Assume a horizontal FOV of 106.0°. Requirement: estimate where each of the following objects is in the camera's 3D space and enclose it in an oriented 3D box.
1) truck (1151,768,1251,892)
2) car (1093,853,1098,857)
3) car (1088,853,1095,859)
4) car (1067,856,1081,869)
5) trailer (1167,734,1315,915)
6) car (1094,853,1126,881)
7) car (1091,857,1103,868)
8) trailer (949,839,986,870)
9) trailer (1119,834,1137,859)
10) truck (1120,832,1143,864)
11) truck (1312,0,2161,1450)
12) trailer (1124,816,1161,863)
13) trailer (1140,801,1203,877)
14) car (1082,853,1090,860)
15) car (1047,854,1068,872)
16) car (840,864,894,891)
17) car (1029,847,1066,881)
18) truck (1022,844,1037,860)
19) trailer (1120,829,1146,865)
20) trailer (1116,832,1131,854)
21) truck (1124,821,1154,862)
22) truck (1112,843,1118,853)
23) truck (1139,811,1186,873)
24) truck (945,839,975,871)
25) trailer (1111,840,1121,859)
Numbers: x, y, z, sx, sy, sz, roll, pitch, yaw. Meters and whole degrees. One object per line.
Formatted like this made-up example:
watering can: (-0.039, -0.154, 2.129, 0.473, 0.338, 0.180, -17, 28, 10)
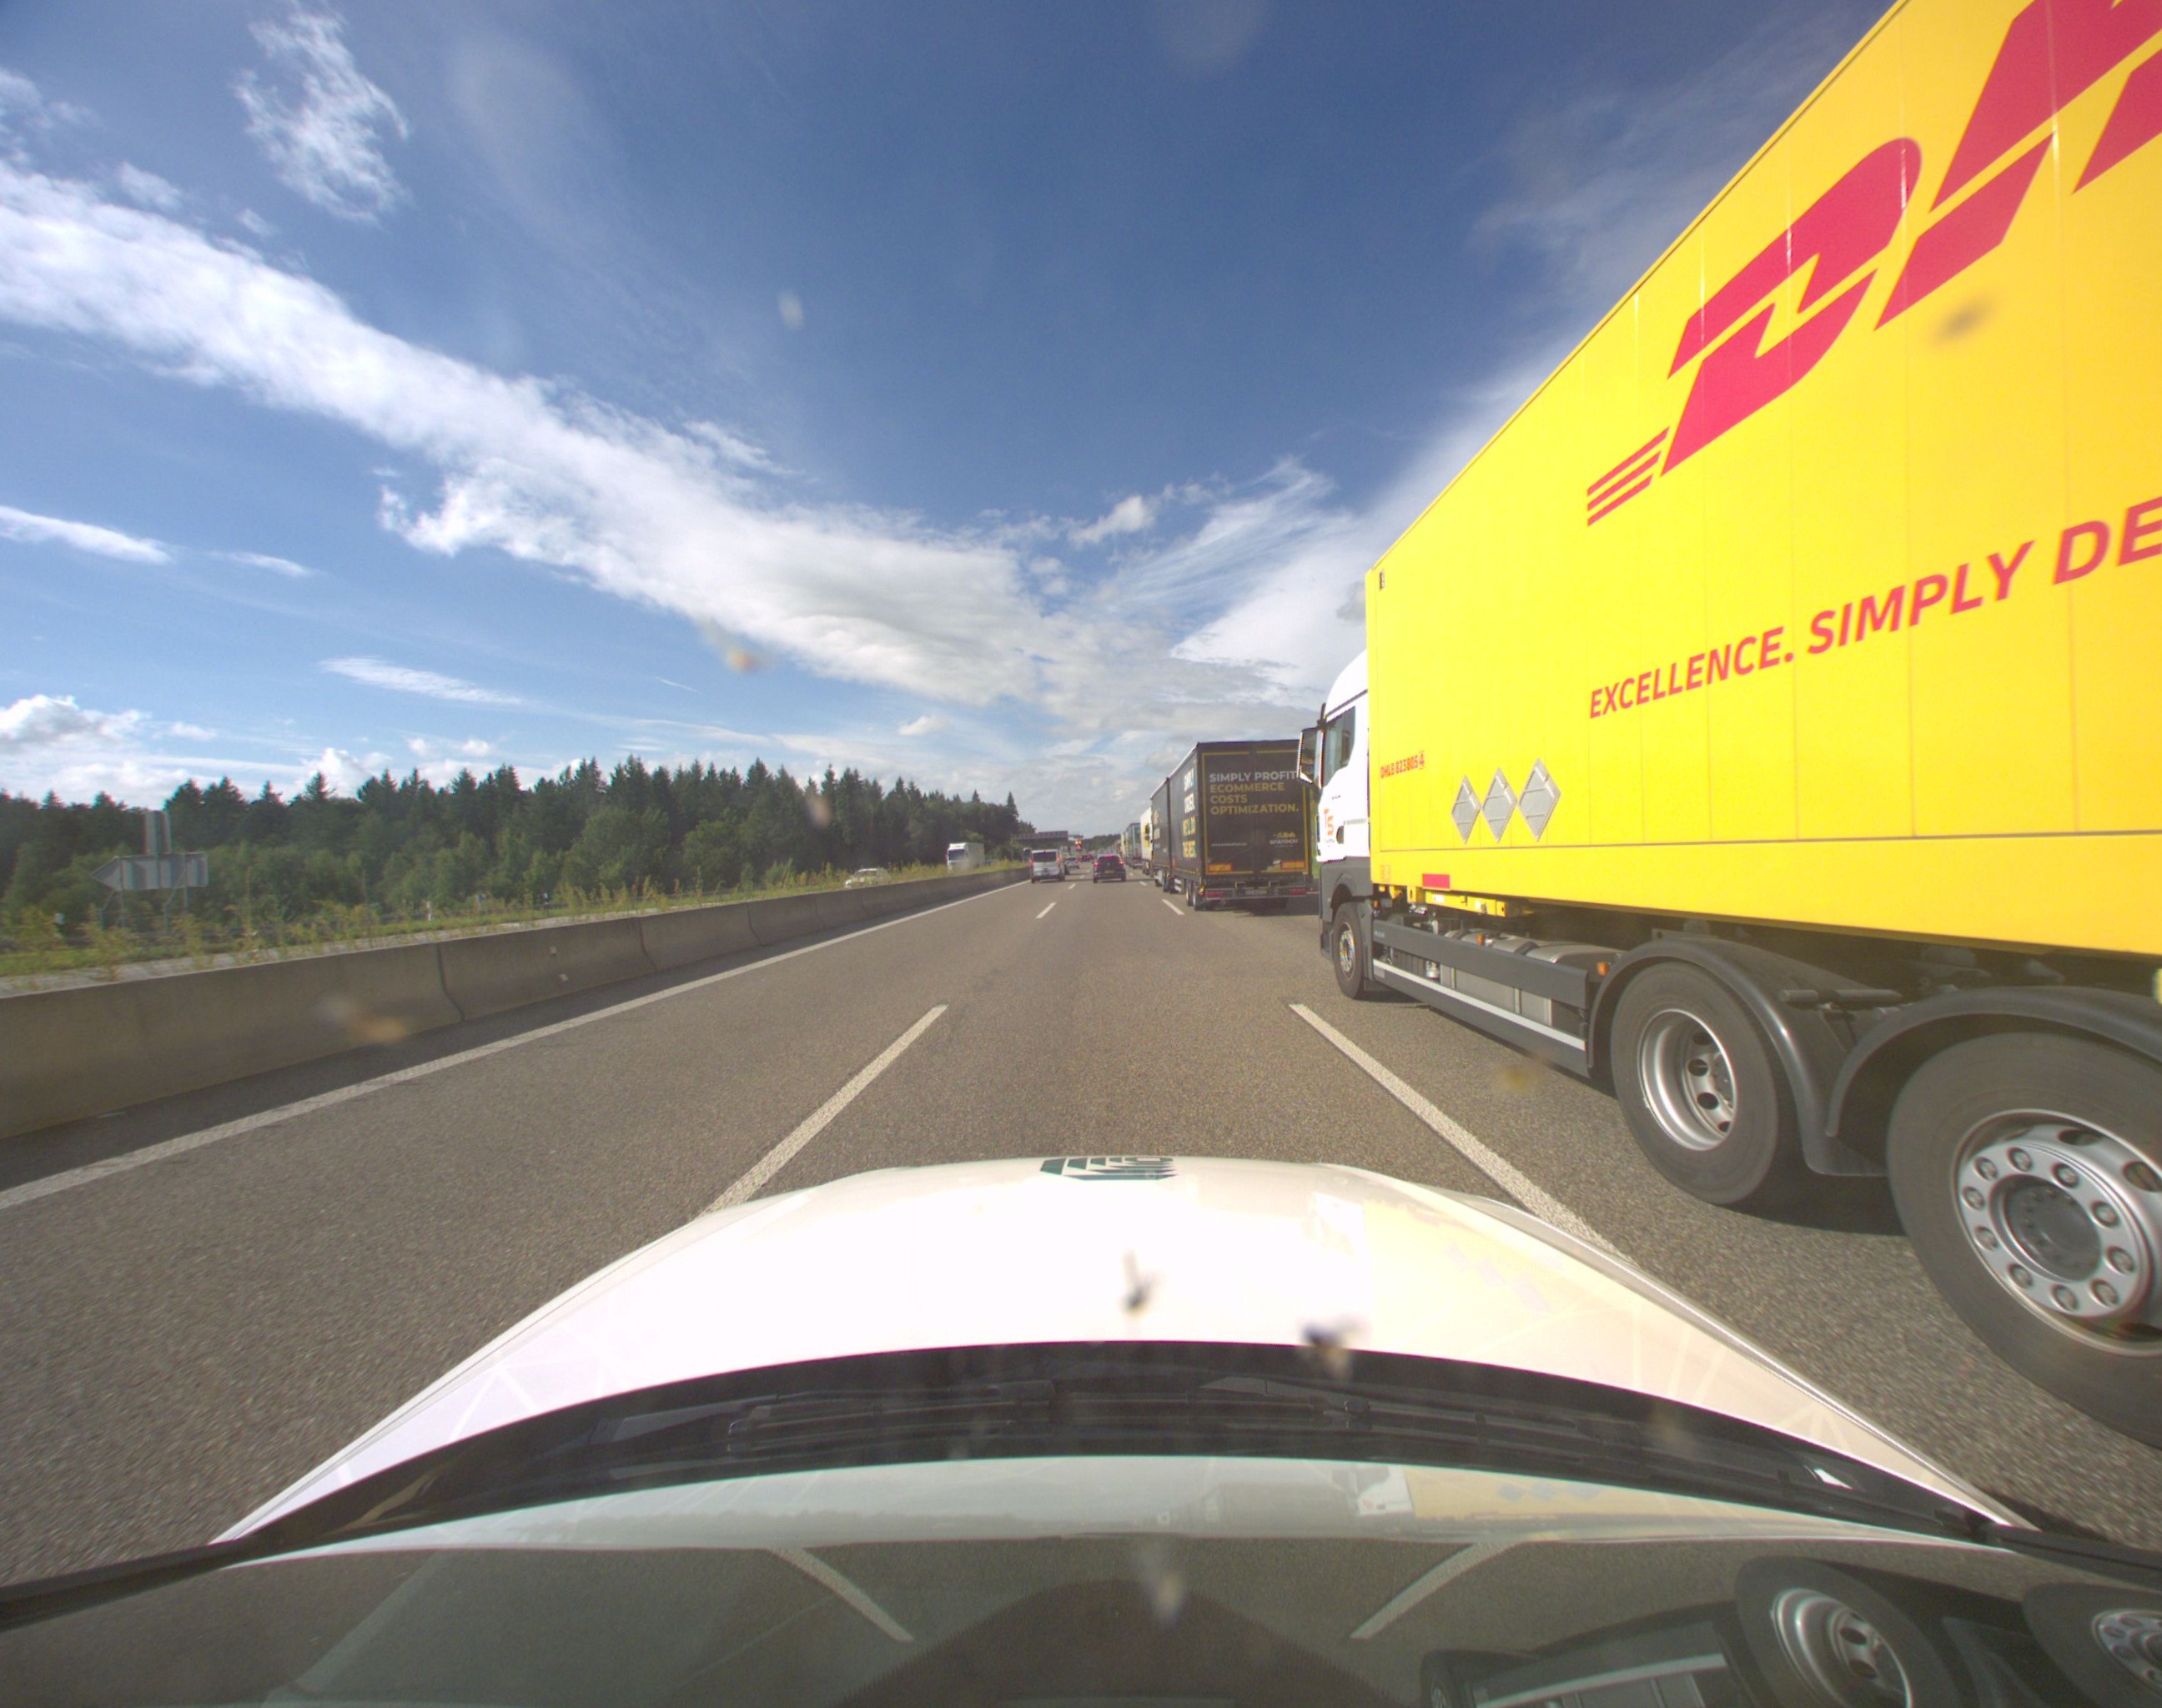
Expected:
truck: (4.381, -0.757, 31.820, 2.730, 4.038, 10.208, -1, 0, 2)
car: (4.410, 0.310, 246.868, 1.356, 1.301, 3.086, -1, 0, 2)
car: (2.437, 0.524, 183.822, 1.429, 1.310, 3.534, -1, 0, 1)
car: (-0.808, 0.952, 94.259, 1.494, 1.396, 3.477, -1, 0, 2)
trailer: (3.983, -0.683, 22.331, 2.705, 3.960, 8.717, -1, 0, 3)
car: (1.598, 0.702, 45.126, 1.690, 1.483, 4.161, -1, 0, 2)
car: (2.145, 1.113, 109.057, 1.576, 1.396, 3.207, -1, 0, 0)
trailer: (-15.771, 0.092, 114.213, 2.822, 3.992, 13.552, -3, 0, 1)
trailer: (7.562, -1.183, 131.829, 2.531, 3.653, 10.631, -4, 0, 2)
truck: (6.757, -0.824, 110.305, 2.698, 4.059, 6.364, -4, 0, 2)
truck: (3.721, -0.696, 4.455, 2.403, 4.068, 9.668, -1, 0, 2)
trailer: (5.634, -1.246, 76.605, 2.651, 3.868, 13.400, -3, 0, 2)
trailer: (5.254, -0.772, 49.511, 2.780, 3.938, 13.077, -3, 0, 3)
car: (0.914, 0.556, 157.406, 1.429, 1.310, 3.534, -1, 0, 1)
car: (-1.917, 0.713, 67.189, 1.494, 1.396, 3.477, -1, 0, 2)
car: (-13.181, 1.421, 50.528, 1.911, 1.476, 4.935, -1, 0, 1)
car: (-2.015, 0.601, 50.522, 1.925, 1.979, 5.100, -1, 0, 2)
truck: (-13.016, -0.436, 206.608, 2.821, 3.688, 11.135, -4, 0, 1)
trailer: (6.485, -0.847, 103.009, 2.693, 4.081, 12.950, -4, 0, 2)
trailer: (8.610, -2.175, 165.992, 2.791, 4.244, 11.063, -4, 0, 3)
truck: (5.875, -1.223, 83.770, 2.637, 3.868, 6.999, -3, 0, 2)
truck: (10.817, -2.022, 259.545, 1.986, 3.052, 4.984, -1, 0, 2)
truck: (5.568, -0.802, 56.508, 2.791, 3.939, 5.829, -3, 0, 2)
truck: (-15.906, 0.073, 107.541, 2.810, 3.976, 5.834, -3, 0, 1)
trailer: (8.245, -1.094, 190.864, 2.141, 4.259, 8.445, -3, 0, 2)
